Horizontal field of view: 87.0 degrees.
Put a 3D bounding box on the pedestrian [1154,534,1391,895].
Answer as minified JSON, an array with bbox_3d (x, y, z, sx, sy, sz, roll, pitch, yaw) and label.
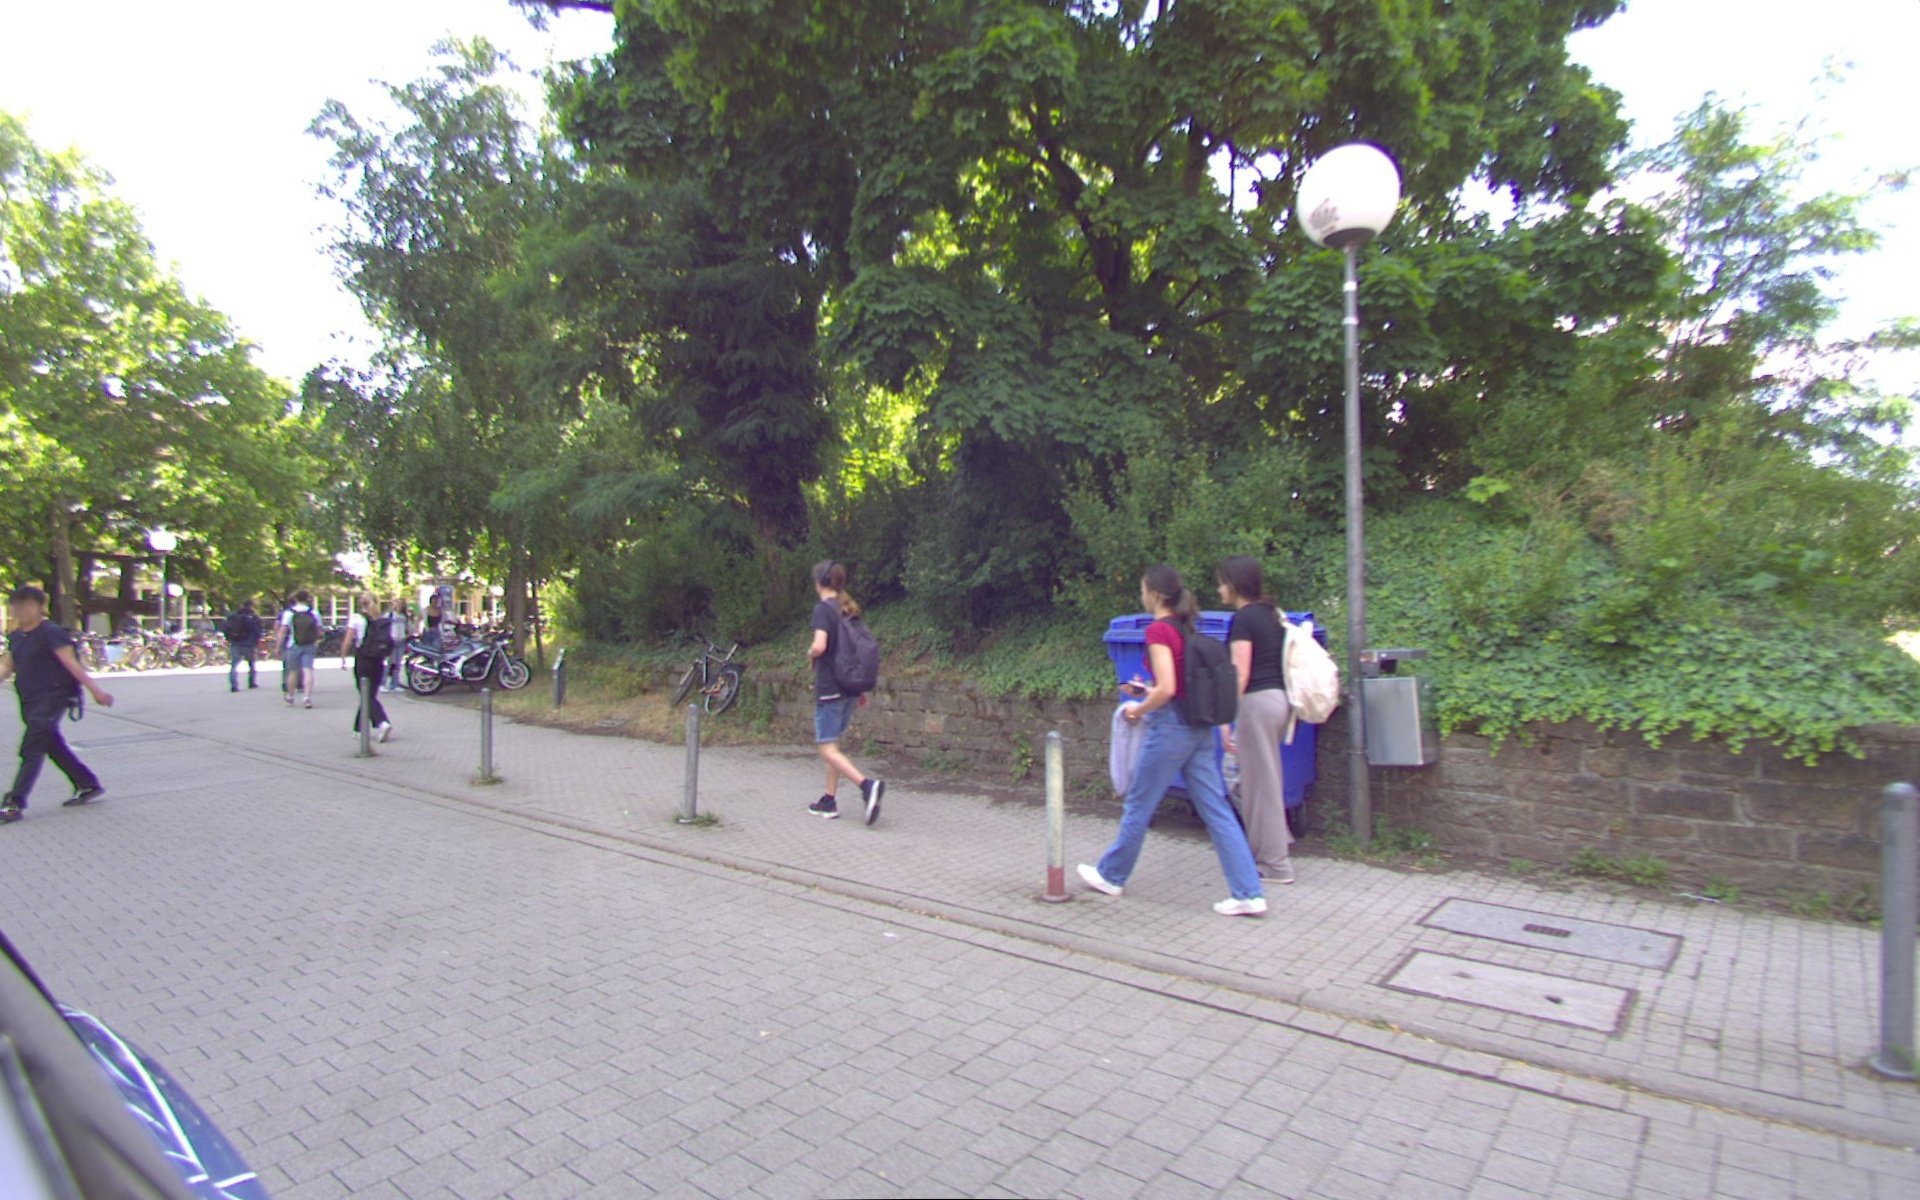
[{"bbox_3d":[1.586,0.516,5.129,0.976,1.633,0.676,-1,0,35],"label":"pedestrian"}]

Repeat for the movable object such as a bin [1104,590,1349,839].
[{"bbox_3d":[1.625,0.638,6.275,0.700,1.346,1.241,-4,1,-40],"label":"movable object such as a bin"}]

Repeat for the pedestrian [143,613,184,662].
[{"bbox_3d":[-28.297,1.324,35.974,0.892,1.716,0.772,-1,-1,-13],"label":"pedestrian"}]

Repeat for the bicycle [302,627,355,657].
[{"bbox_3d":[-24.333,1.604,39.023,1.671,1.092,0.475,-1,0,-15],"label":"bicycle"}]

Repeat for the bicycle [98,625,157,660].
[{"bbox_3d":[-30.358,1.551,36.920,1.676,1.209,0.576,-1,0,0],"label":"bicycle"}]

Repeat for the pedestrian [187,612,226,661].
[{"bbox_3d":[-27.144,1.319,36.477,0.891,1.716,0.772,-1,-1,-17],"label":"pedestrian"}]

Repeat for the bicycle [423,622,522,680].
[{"bbox_3d":[-9.625,1.004,20.000,1.675,1.055,0.474,-2,1,-1],"label":"bicycle"}]

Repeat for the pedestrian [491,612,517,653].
[{"bbox_3d":[-20.720,1.459,45.964,0.758,1.817,0.984,-1,-1,-4],"label":"pedestrian"}]

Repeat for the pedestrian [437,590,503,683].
[{"bbox_3d":[-9.334,0.691,19.305,0.925,1.737,0.676,-1,-2,3],"label":"pedestrian"}]

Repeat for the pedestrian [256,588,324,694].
[{"bbox_3d":[-12.414,0.739,18.748,1.118,1.887,0.676,-1,0,35],"label":"pedestrian"}]

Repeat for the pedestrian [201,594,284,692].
[{"bbox_3d":[-14.236,0.829,20.116,0.876,1.871,1.032,-2,0,0],"label":"pedestrian"}]

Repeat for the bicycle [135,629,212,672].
[{"bbox_3d":[-22.091,1.408,28.454,1.672,1.118,0.475,-1,0,-38],"label":"bicycle"}]

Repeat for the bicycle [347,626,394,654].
[{"bbox_3d":[-24.438,1.667,41.991,1.676,1.092,0.474,-1,0,1],"label":"bicycle"}]

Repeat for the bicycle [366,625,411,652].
[{"bbox_3d":[-24.493,1.657,43.400,1.676,1.092,0.474,-1,0,1],"label":"bicycle"}]

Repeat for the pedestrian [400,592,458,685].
[{"bbox_3d":[-10.172,0.727,19.402,0.722,1.737,0.685,-1,-2,3],"label":"pedestrian"}]

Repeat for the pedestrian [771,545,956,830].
[{"bbox_3d":[-0.644,0.535,6.753,1.018,1.741,0.676,-1,0,35],"label":"pedestrian"}]

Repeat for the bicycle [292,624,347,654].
[{"bbox_3d":[-24.294,1.474,38.413,1.671,1.092,0.475,-1,0,-15],"label":"bicycle"}]

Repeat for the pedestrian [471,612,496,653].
[{"bbox_3d":[-21.544,1.462,45.794,0.821,1.829,0.885,-1,-1,-12],"label":"pedestrian"}]

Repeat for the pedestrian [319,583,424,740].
[{"bbox_3d":[-6.879,0.685,11.822,1.000,1.741,0.676,-1,1,35],"label":"pedestrian"}]

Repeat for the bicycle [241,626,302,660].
[{"bbox_3d":[-23.885,1.482,35.135,1.671,1.092,0.475,-1,0,-15],"label":"bicycle"}]

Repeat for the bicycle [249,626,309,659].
[{"bbox_3d":[-23.967,1.495,35.651,1.671,1.092,0.475,-1,0,-15],"label":"bicycle"}]

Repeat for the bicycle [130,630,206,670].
[{"bbox_3d":[-23.156,1.451,29.616,1.671,1.092,0.475,-1,0,-31],"label":"bicycle"}]

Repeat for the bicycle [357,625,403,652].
[{"bbox_3d":[-24.539,1.628,42.807,1.676,1.092,0.474,-1,0,1],"label":"bicycle"}]

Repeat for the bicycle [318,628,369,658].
[{"bbox_3d":[-24.244,1.681,39.806,1.673,1.092,0.475,-1,0,-8],"label":"bicycle"}]

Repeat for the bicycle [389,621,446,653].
[{"bbox_3d":[-20.018,1.350,37.380,1.813,1.118,0.476,-1,0,-22],"label":"bicycle"}]

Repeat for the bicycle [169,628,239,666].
[{"bbox_3d":[-23.039,1.430,30.864,1.672,1.092,0.475,-1,0,-9],"label":"bicycle"}]

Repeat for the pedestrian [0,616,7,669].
[{"bbox_3d":[-31.162,1.377,32.400,0.757,1.692,0.910,0,-2,-31],"label":"pedestrian"}]

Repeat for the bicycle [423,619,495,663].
[{"bbox_3d":[-13.833,1.121,27.973,1.747,1.118,0.476,-1,0,-21],"label":"bicycle"}]

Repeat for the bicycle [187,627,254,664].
[{"bbox_3d":[-23.302,1.424,31.917,1.672,1.092,0.475,-1,0,-9],"label":"bicycle"}]

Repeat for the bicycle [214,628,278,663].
[{"bbox_3d":[-23.357,1.491,33.123,1.671,1.092,0.475,-1,0,-12],"label":"bicycle"}]

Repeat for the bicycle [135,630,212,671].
[{"bbox_3d":[-22.371,1.429,28.817,1.695,1.092,0.475,-1,0,-36],"label":"bicycle"}]

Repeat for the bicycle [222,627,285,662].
[{"bbox_3d":[-23.765,1.492,34.066,1.671,1.092,0.475,-1,0,-15],"label":"bicycle"}]

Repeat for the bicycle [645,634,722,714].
[{"bbox_3d":[-3.699,0.949,13.472,0.416,0.916,1.744,-1,1,-35],"label":"bicycle"}]

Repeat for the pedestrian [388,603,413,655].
[{"bbox_3d":[-20.466,1.043,37.042,0.603,1.849,1.053,-1,-1,-19],"label":"pedestrian"}]

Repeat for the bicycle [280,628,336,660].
[{"bbox_3d":[-24.072,1.622,37.397,1.671,1.092,0.475,-1,0,-15],"label":"bicycle"}]

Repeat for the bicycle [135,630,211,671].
[{"bbox_3d":[-22.726,1.438,29.266,1.671,1.092,0.475,-1,0,-31],"label":"bicycle"}]

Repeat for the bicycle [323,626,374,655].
[{"bbox_3d":[-24.353,1.626,40.330,1.673,1.092,0.475,-1,0,-8],"label":"bicycle"}]

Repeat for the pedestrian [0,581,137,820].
[{"bbox_3d":[-7.076,0.737,7.839,0.675,1.737,0.905,-2,0,-8],"label":"pedestrian"}]

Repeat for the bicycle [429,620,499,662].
[{"bbox_3d":[-14.189,1.169,28.990,1.747,1.118,0.476,-1,0,-21],"label":"bicycle"}]

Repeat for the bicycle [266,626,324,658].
[{"bbox_3d":[-24.186,1.534,36.812,1.671,1.092,0.475,-1,0,-15],"label":"bicycle"}]

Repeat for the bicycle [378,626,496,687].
[{"bbox_3d":[-9.645,1.033,18.702,1.881,1.055,0.542,-1,0,-1],"label":"bicycle"}]

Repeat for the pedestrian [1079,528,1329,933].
[{"bbox_3d":[1.115,0.525,4.620,0.912,1.633,0.676,-1,0,35],"label":"pedestrian"}]

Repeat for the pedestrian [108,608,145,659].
[{"bbox_3d":[-30.630,1.214,37.179,0.701,1.820,0.768,-1,-1,7],"label":"pedestrian"}]

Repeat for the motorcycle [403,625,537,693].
[{"bbox_3d":[-8.419,1.003,17.442,1.994,1.055,0.475,-2,0,-8],"label":"motorcycle"}]

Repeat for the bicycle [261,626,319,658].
[{"bbox_3d":[-24.046,1.514,36.351,1.671,1.092,0.475,-1,0,-15],"label":"bicycle"}]

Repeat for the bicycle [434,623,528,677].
[{"bbox_3d":[-9.743,1.012,20.620,1.675,1.055,0.474,-1,0,-1],"label":"bicycle"}]

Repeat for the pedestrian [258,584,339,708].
[{"bbox_3d":[-10.535,0.704,16.118,1.080,1.895,0.717,-1,0,35],"label":"pedestrian"}]
